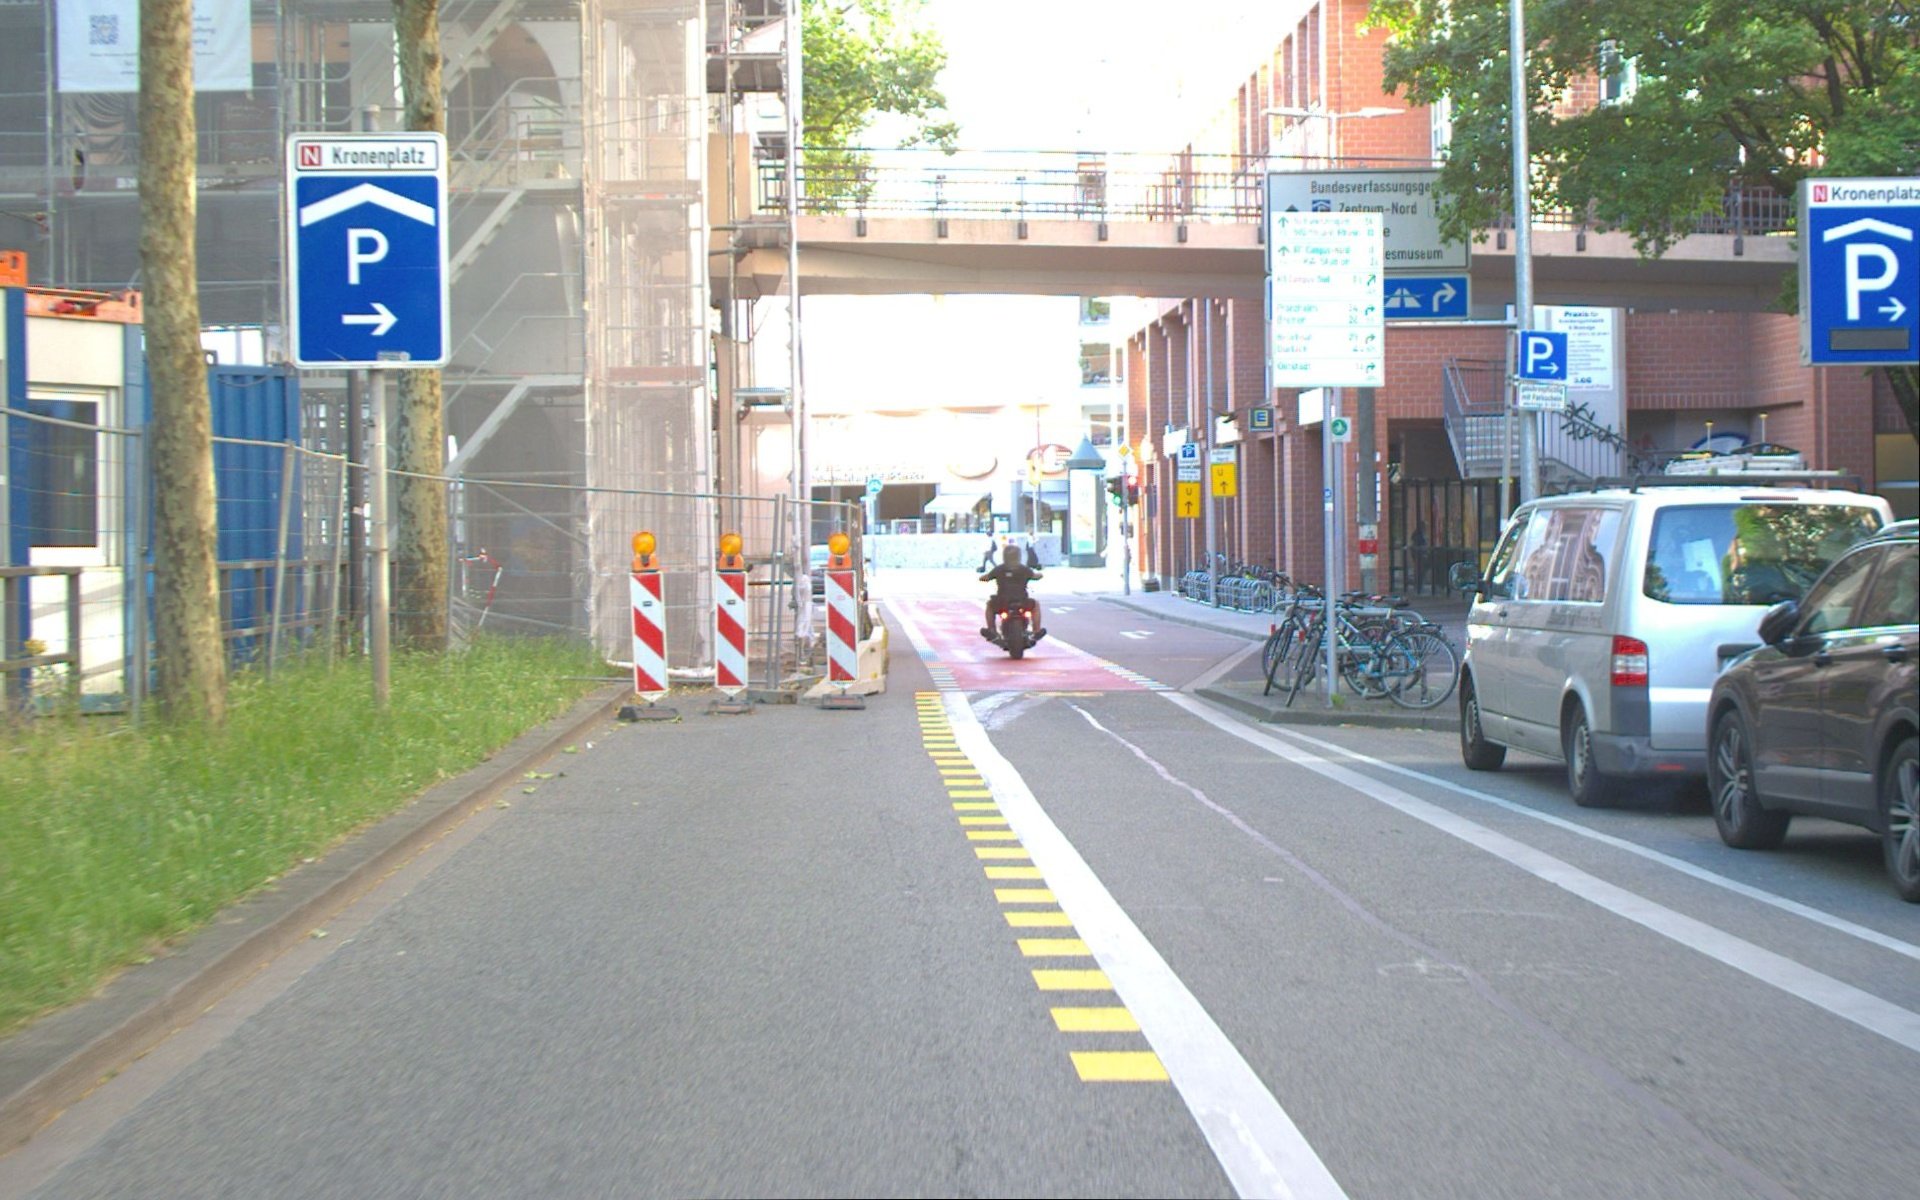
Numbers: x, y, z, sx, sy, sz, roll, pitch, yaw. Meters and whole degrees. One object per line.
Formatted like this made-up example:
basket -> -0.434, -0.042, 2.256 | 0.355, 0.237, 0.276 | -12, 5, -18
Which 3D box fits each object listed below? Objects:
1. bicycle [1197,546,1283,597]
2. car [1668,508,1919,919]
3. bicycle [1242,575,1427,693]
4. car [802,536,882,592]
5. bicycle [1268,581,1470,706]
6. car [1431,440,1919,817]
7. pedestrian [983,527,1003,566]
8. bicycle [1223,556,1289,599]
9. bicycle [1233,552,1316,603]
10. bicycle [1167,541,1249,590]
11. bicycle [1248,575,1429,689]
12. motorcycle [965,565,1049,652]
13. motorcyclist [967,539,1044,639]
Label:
bicycle -> 6.367, -0.645, 78.188 | 1.891, 1.115, 0.550 | -1, 1, -2
car -> 4.684, 0.412, 15.845 | 1.787, 1.664, 4.200 | -1, 1, -3
bicycle -> 3.515, 0.308, 32.331 | 1.680, 1.064, 0.500 | 1, 1, 32
car -> -3.051, -0.940, 88.456 | 1.923, 1.384, 4.001 | -1, 1, -4
bicycle -> 3.575, 0.369, 30.094 | 1.679, 1.064, 0.511 | 0, 1, 21
car -> 4.396, 0.104, 21.619 | 1.918, 2.071, 5.171 | -1, 1, -3
pedestrian -> 1.321, -2.154, 137.970 | 0.539, 1.578, 0.557 | -2, 2, -45
bicycle -> 6.363, -0.481, 73.979 | 1.334, 0.838, 0.425 | -3, 1, 0
bicycle -> 6.517, -0.469, 71.230 | 1.611, 0.951, 0.555 | -3, 1, 0
bicycle -> 5.931, -0.823, 82.216 | 1.891, 1.115, 0.475 | -1, 1, -2
bicycle -> 3.642, 0.294, 33.129 | 1.680, 1.064, 0.500 | 1, 1, 32
motorcycle -> 0.631, 0.101, 47.156 | 0.973, 1.128, 2.805 | 1, 1, -3
motorcyclist -> 0.618, -0.161, 47.311 | 0.970, 1.342, 1.138 | 1, 1, -3
